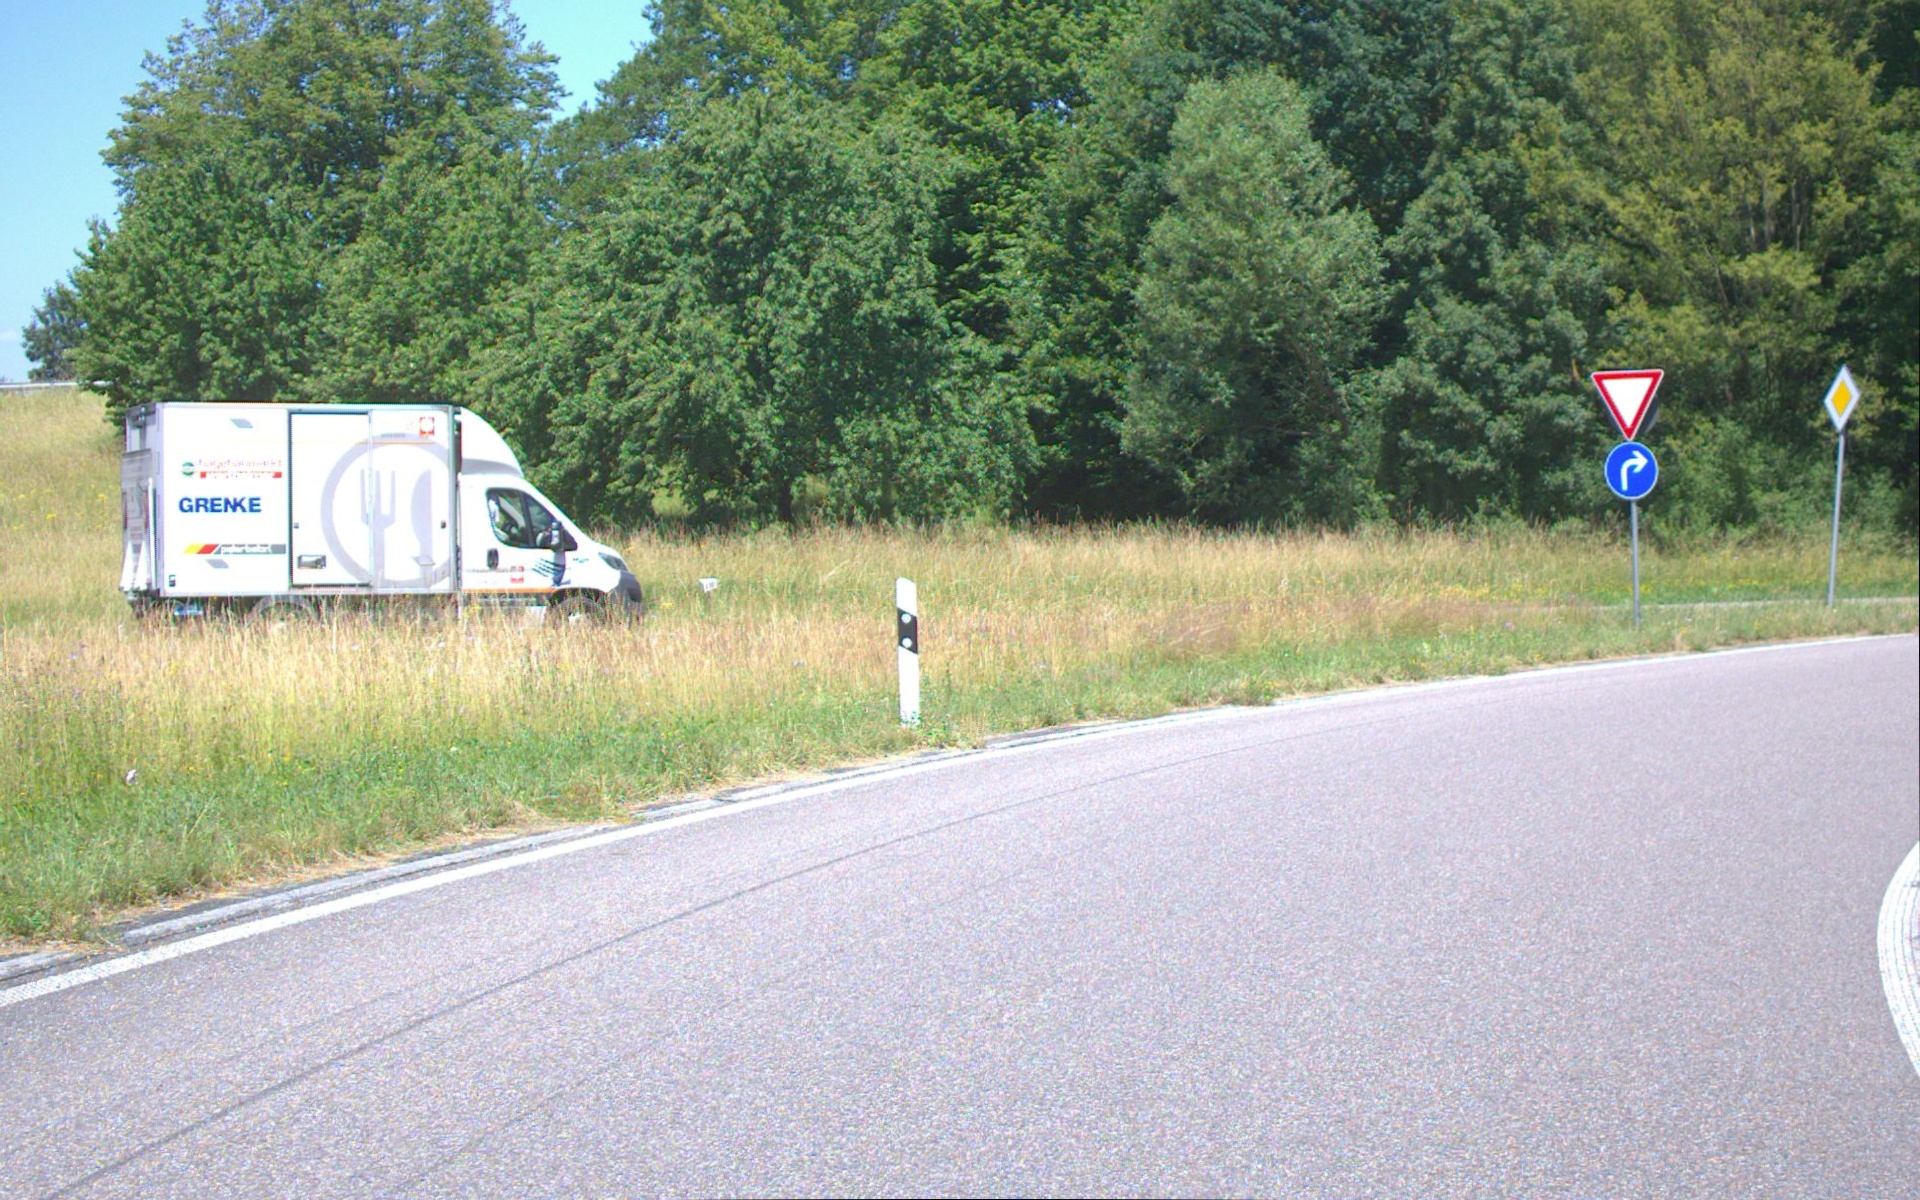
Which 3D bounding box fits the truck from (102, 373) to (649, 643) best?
[{"bbox_3d":[-6.795,-1.078,40.081,5.874,2.974,2.248,-1,1,-24],"label":"truck"}]
